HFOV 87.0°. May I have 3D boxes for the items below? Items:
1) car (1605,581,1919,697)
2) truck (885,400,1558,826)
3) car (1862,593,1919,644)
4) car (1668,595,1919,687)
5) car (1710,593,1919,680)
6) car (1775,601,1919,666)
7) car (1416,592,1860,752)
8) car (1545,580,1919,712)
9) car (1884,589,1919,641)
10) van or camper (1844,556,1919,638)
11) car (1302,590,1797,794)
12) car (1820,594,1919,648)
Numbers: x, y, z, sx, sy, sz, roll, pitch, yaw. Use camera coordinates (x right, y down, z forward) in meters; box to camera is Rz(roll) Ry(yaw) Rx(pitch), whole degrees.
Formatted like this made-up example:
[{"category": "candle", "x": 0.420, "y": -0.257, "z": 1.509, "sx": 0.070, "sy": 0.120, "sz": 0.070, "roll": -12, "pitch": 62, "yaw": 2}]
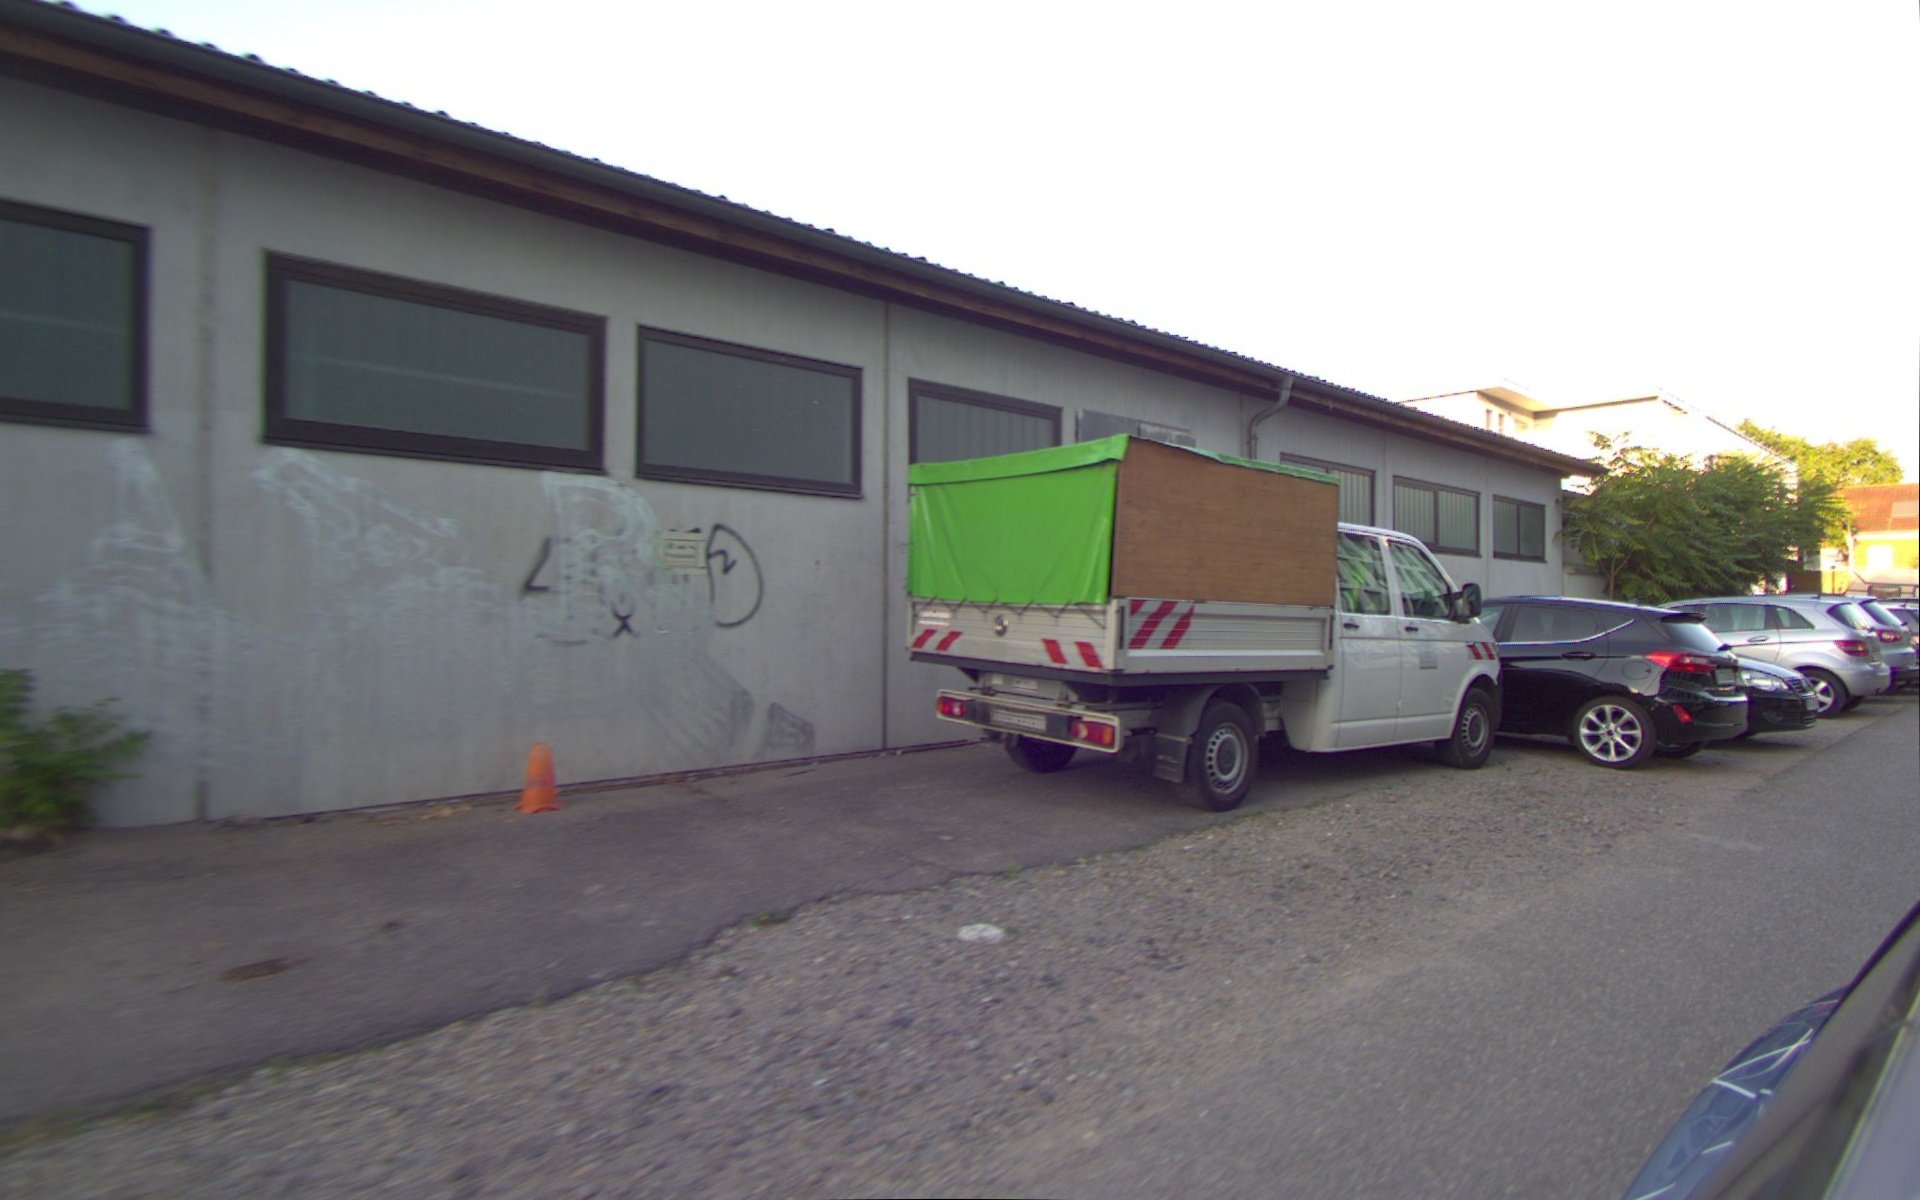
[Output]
[{"category": "car", "x": 13.017, "y": 0.603, "z": 16.358, "sx": 1.795, "sy": 1.640, "sz": 3.990, "roll": 0, "pitch": -2, "yaw": -41}, {"category": "truck", "x": 2.345, "y": 0.118, "z": 7.875, "sx": 5.606, "sy": 2.228, "sz": 2.103, "roll": 2, "pitch": -1, "yaw": -38}, {"category": "car", "x": 31.204, "y": 0.598, "z": 31.881, "sx": 1.682, "sy": 1.583, "sz": 4.010, "roll": 0, "pitch": 0, "yaw": -41}, {"category": "car", "x": 15.149, "y": 0.681, "z": 17.839, "sx": 1.793, "sy": 1.464, "sz": 3.994, "roll": -1, "pitch": -1, "yaw": -37}, {"category": "car", "x": 17.167, "y": 0.659, "z": 19.289, "sx": 1.854, "sy": 1.522, "sz": 4.214, "roll": -1, "pitch": -1, "yaw": -36}, {"category": "car", "x": 20.871, "y": 0.723, "z": 22.283, "sx": 1.788, "sy": 1.385, "sz": 4.216, "roll": 0, "pitch": -2, "yaw": -34}, {"category": "car", "x": 7.450, "y": 0.708, "z": 11.418, "sx": 1.812, "sy": 1.463, "sz": 3.767, "roll": -1, "pitch": -1, "yaw": -38}, {"category": "car", "x": 11.047, "y": 0.615, "z": 14.672, "sx": 1.904, "sy": 1.630, "sz": 3.992, "roll": 0, "pitch": -2, "yaw": -38}, {"category": "car", "x": 33.732, "y": 0.516, "z": 33.530, "sx": 1.929, "sy": 1.763, "sz": 4.257, "roll": 0, "pitch": 1, "yaw": -33}, {"category": "van or camper", "x": 35.532, "y": -0.100, "z": 36.026, "sx": 2.442, "sy": 2.900, "sz": 5.794, "roll": 0, "pitch": 1, "yaw": -38}, {"category": "car", "x": 5.578, "y": 0.750, "z": 9.988, "sx": 1.856, "sy": 1.555, "sz": 3.770, "roll": -2, "pitch": 0, "yaw": -36}, {"category": "car", "x": 27.599, "y": 0.600, "z": 29.434, "sx": 1.681, "sy": 1.497, "sz": 3.713, "roll": 0, "pitch": 0, "yaw": -39}]
